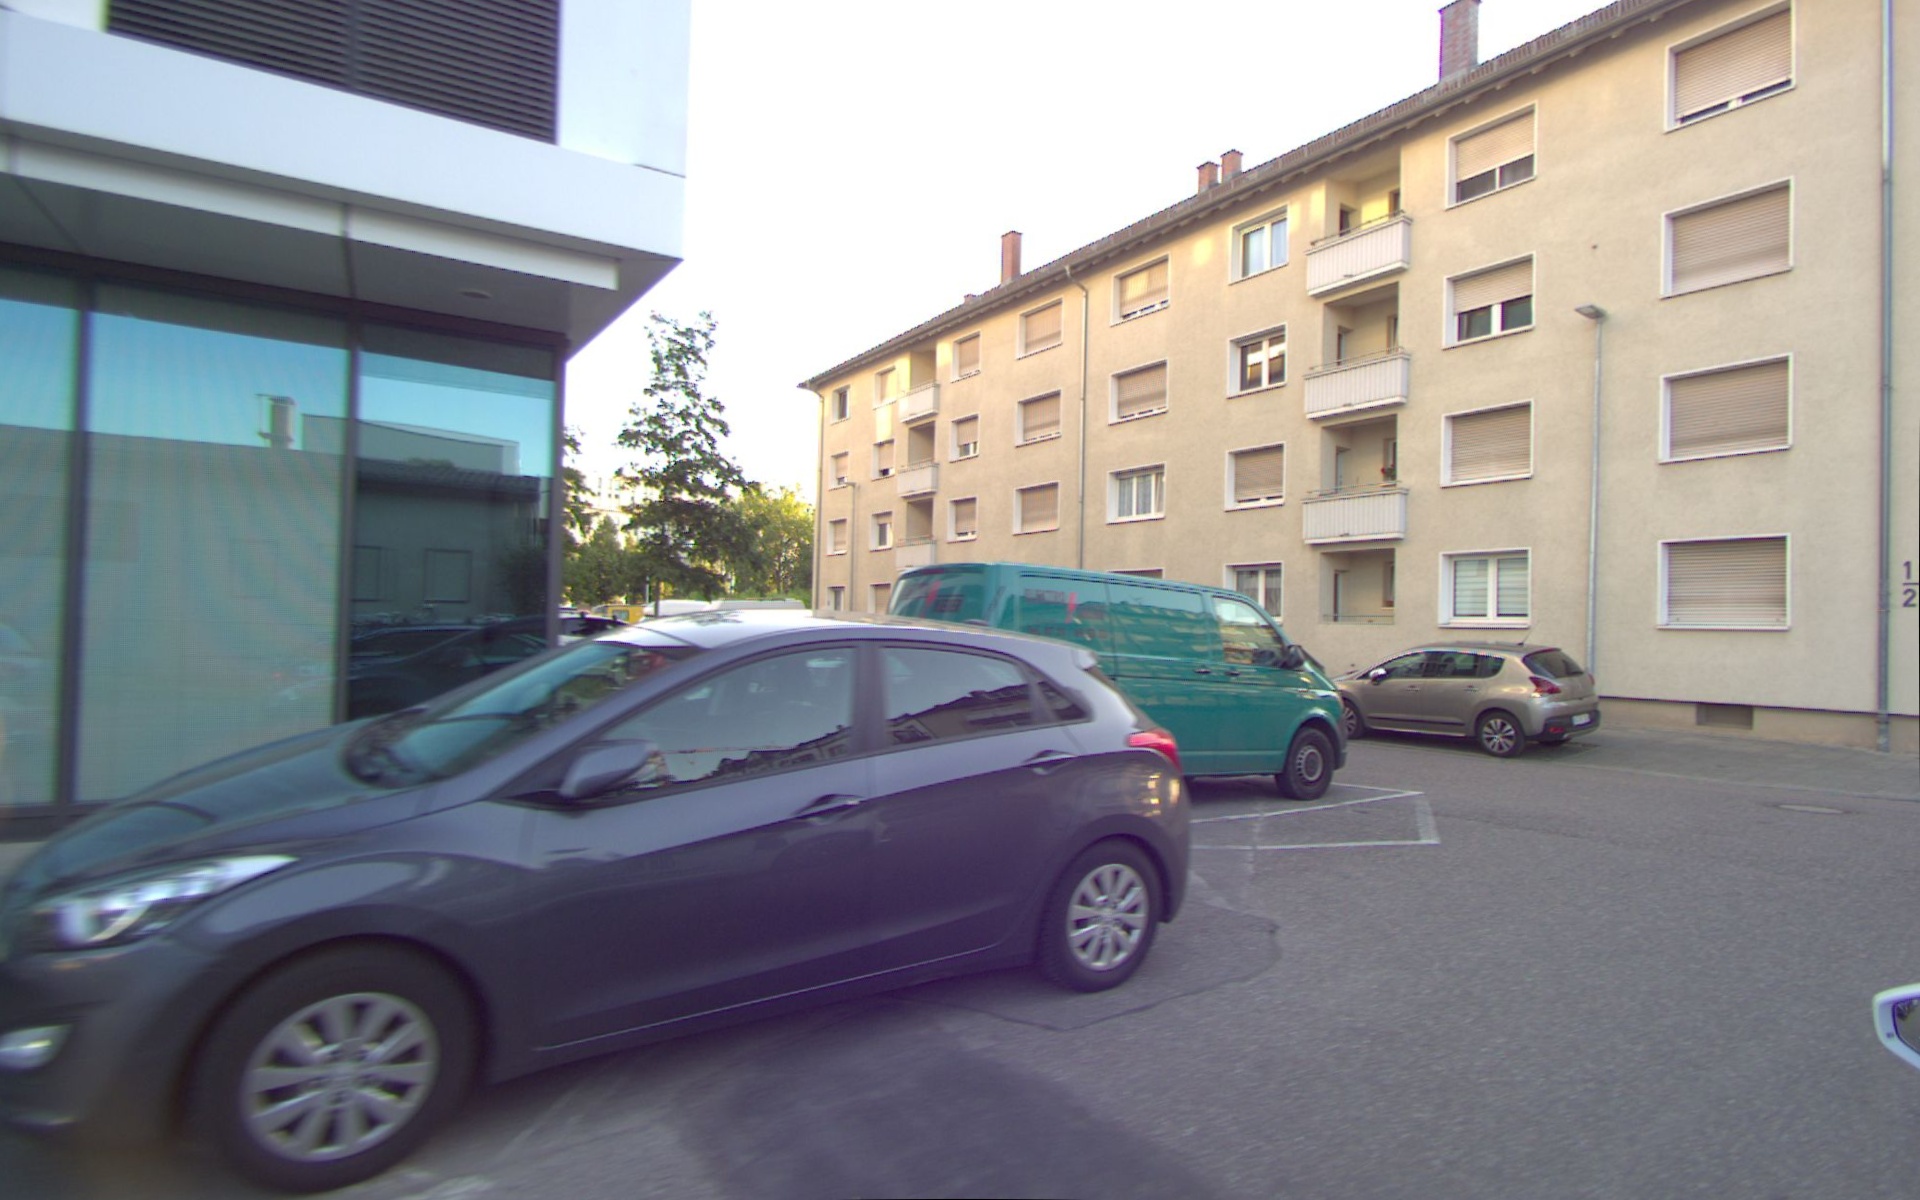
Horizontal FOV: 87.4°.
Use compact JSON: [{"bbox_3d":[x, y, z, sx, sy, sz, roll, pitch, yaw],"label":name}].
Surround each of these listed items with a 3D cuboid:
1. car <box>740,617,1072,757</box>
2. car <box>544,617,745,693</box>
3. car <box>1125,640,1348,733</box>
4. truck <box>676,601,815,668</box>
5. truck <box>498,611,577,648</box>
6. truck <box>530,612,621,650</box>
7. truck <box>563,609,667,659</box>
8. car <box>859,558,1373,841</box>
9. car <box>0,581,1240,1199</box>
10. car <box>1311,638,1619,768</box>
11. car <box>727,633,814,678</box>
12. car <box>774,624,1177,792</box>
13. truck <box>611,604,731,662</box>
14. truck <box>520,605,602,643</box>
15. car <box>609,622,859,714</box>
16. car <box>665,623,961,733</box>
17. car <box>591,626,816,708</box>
[{"bbox_3d":[-0.666,1.216,13.981,4.287,1.680,1.719,5,-3,-33],"label":"car"},{"bbox_3d":[-7.817,1.396,25.059,4.419,1.633,1.719,5,-3,-33],"label":"car"},{"bbox_3d":[5.457,1.641,20.191,1.864,1.520,3.976,-2,0,-39],"label":"car"},{"bbox_3d":[-10.062,1.548,47.325,5.940,2.759,2.316,-2,0,-35],"label":"truck"},{"bbox_3d":[-36.859,2.511,87.771,5.940,2.884,2.316,-2,0,-35],"label":"truck"},{"bbox_3d":[-28.662,2.258,74.977,5.940,2.531,2.316,-2,0,-35],"label":"truck"},{"bbox_3d":[-22.325,2.160,65.111,5.940,2.884,2.316,-2,0,-35],"label":"truck"},{"bbox_3d":[1.576,0.848,9.169,4.641,2.005,1.787,4,-3,-34],"label":"car"},{"bbox_3d":[-1.079,0.775,3.870,4.286,1.498,1.769,3,-1,-34],"label":"car"},{"bbox_3d":[7.887,1.507,16.017,1.861,1.639,3.982,-2,0,-34],"label":"car"},{"bbox_3d":[-7.401,2.111,38.917,1.861,1.504,3.911,-2,0,-34],"label":"car"},{"bbox_3d":[0.273,1.198,11.414,4.287,1.570,1.769,5,-3,-33],"label":"car"},{"bbox_3d":[-16.159,1.801,56.342,5.940,2.884,2.316,-2,0,-35],"label":"truck"},{"bbox_3d":[-33.466,1.984,84.253,5.940,2.884,2.316,-2,0,-35],"label":"truck"},{"bbox_3d":[-4.156,1.286,18.742,4.156,1.475,1.719,5,-3,-33],"label":"car"},{"bbox_3d":[-2.211,1.234,15.579,4.156,1.475,1.719,5,-3,-33],"label":"car"},{"bbox_3d":[-5.302,1.421,20.940,4.156,1.475,1.719,5,-3,-33],"label":"car"}]
